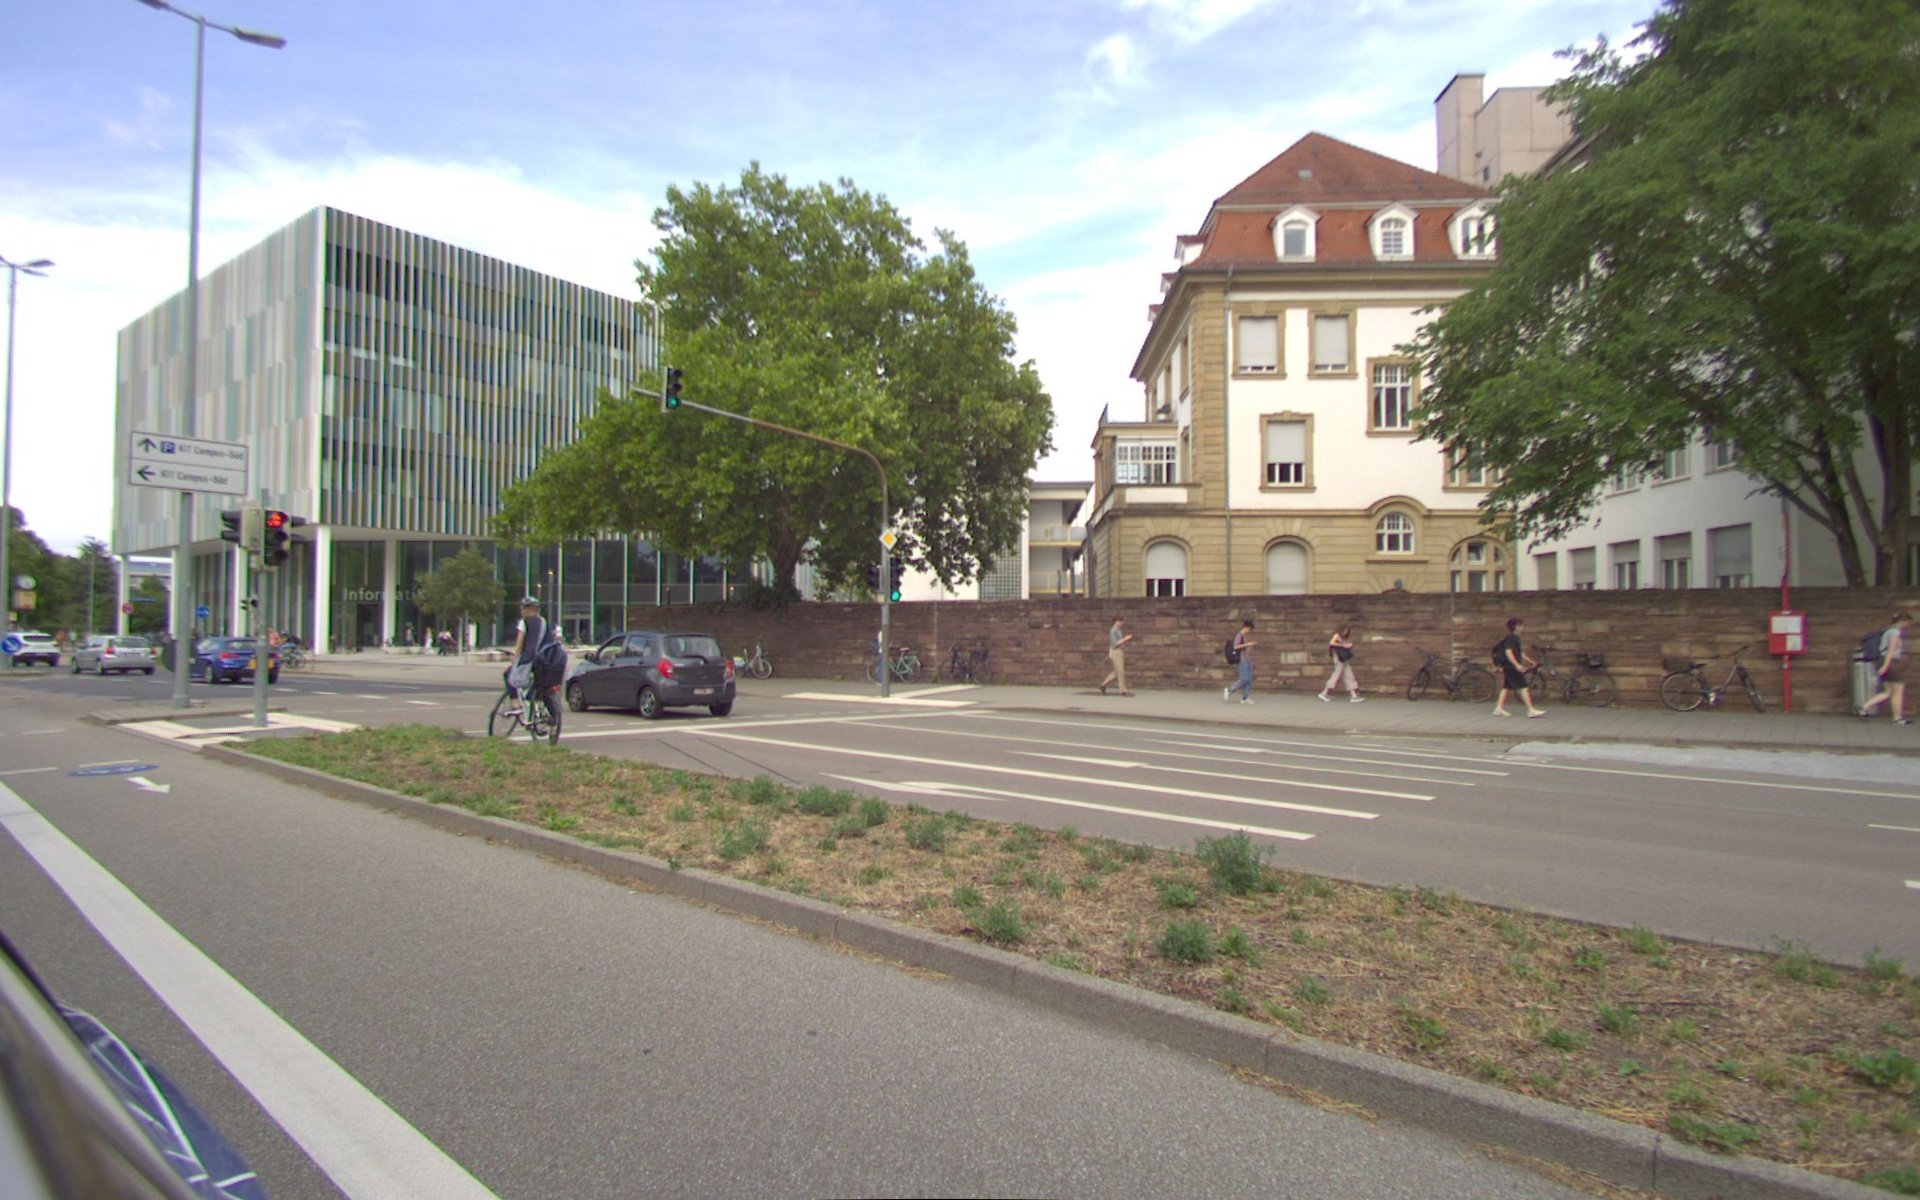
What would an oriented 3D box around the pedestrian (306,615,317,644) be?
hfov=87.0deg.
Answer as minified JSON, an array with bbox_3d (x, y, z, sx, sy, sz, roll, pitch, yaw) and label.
[{"bbox_3d":[-46.722,2.134,72.908,0.623,2.059,0.506,-3,-3,36],"label":"pedestrian"}]

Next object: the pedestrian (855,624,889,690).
[{"bbox_3d":[-2.426,1.558,27.949,0.774,1.796,0.745,1,-1,6],"label":"pedestrian"}]

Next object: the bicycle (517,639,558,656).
[{"bbox_3d":[-26.425,2.961,63.303,0.669,1.007,2.662,-1,-2,22],"label":"bicycle"}]

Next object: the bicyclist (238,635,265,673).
[{"bbox_3d":[-31.707,2.404,45.298,0.719,1.685,0.723,-1,-1,24],"label":"bicyclist"}]

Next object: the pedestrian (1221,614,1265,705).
[{"bbox_3d":[5.752,1.198,20.612,0.775,1.796,0.758,1,-1,11],"label":"pedestrian"}]

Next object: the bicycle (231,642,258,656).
[{"bbox_3d":[-49.868,3.421,70.549,0.393,0.944,1.529,-2,0,32],"label":"bicycle"}]

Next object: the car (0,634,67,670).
[{"bbox_3d":[-44.683,2.443,48.113,4.400,1.665,1.853,-1,-2,27],"label":"car"}]

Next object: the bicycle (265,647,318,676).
[{"bbox_3d":[-28.792,2.638,43.611,0.603,1.179,1.881,-1,-2,22],"label":"bicycle"}]

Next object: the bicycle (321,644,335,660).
[{"bbox_3d":[-39.702,3.273,63.617,0.387,0.944,1.603,-1,0,-19],"label":"bicycle"}]

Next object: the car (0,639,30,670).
[{"bbox_3d":[-52.522,2.952,55.318,4.741,1.628,1.877,-2,-3,41],"label":"car"}]

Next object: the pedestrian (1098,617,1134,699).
[{"bbox_3d":[3.498,1.282,22.749,0.775,1.796,0.745,1,-1,8],"label":"pedestrian"}]

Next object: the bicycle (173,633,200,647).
[{"bbox_3d":[-60.355,3.122,78.994,0.388,1.031,1.564,-1,-4,32],"label":"bicycle"}]

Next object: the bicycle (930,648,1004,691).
[{"bbox_3d":[0.175,1.840,26.927,1.976,1.066,0.544,-2,0,35],"label":"bicycle"}]

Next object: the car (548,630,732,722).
[{"bbox_3d":[-5.842,1.316,18.290,3.636,1.500,1.555,-2,-4,42],"label":"car"}]

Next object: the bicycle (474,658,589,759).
[{"bbox_3d":[-5.113,1.243,12.005,1.927,1.063,0.566,-2,-3,45],"label":"bicycle"}]

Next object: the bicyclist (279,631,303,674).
[{"bbox_3d":[-28.798,2.268,43.568,0.558,1.820,0.597,-1,-3,23],"label":"bicyclist"}]

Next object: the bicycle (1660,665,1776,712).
[{"bbox_3d":[13.782,1.602,18.444,1.615,0.803,0.437,-3,-1,32],"label":"bicycle"}]

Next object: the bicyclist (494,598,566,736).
[{"bbox_3d":[-5.137,0.787,12.086,0.699,1.586,0.565,-2,-3,45],"label":"bicyclist"}]

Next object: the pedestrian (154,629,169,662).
[{"bbox_3d":[-45.939,2.608,58.240,0.623,1.851,0.506,-3,-3,37],"label":"pedestrian"}]

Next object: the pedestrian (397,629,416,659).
[{"bbox_3d":[-32.422,2.553,59.307,0.670,1.753,0.729,0,-2,4],"label":"pedestrian"}]

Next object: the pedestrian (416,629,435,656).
[{"bbox_3d":[-31.469,2.491,59.564,0.670,1.612,0.729,0,-2,7],"label":"pedestrian"}]

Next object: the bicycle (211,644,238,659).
[{"bbox_3d":[-53.916,3.799,74.216,0.388,1.031,1.565,-2,0,32],"label":"bicycle"}]

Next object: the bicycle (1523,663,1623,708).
[{"bbox_3d":[11.871,1.652,19.646,1.615,0.803,0.437,-3,-1,32],"label":"bicycle"}]

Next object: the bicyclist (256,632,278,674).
[{"bbox_3d":[-30.231,2.311,44.151,0.558,1.820,0.597,-1,-1,24],"label":"bicyclist"}]

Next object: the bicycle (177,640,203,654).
[{"bbox_3d":[-59.815,3.638,78.576,0.388,1.031,1.565,-2,0,32],"label":"bicycle"}]

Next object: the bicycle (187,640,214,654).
[{"bbox_3d":[-57.761,3.557,76.990,0.388,1.031,1.565,-2,0,32],"label":"bicycle"}]

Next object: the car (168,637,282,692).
[{"bbox_3d":[-22.787,1.951,31.333,4.098,1.523,1.784,0,-2,38],"label":"car"}]

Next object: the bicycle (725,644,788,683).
[{"bbox_3d":[-6.299,1.935,31.203,2.161,1.134,0.572,-2,0,37],"label":"bicycle"}]

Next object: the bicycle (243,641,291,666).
[{"bbox_3d":[-30.236,2.335,44.161,0.568,0.996,1.679,-1,-1,24],"label":"bicycle"}]

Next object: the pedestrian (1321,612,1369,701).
[{"bbox_3d":[7.979,1.160,21.009,0.775,1.796,0.759,1,-1,9],"label":"pedestrian"}]

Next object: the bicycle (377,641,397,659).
[{"bbox_3d":[-36.049,3.160,63.665,0.388,1.037,1.546,-1,0,0],"label":"bicycle"}]

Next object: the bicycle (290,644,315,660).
[{"bbox_3d":[-41.694,3.287,64.193,0.389,0.944,1.609,-1,0,4],"label":"bicycle"}]

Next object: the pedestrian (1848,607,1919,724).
[{"bbox_3d":[14.807,1.021,15.980,0.905,1.796,0.758,1,-1,12],"label":"pedestrian"}]

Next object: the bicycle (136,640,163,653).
[{"bbox_3d":[-68.003,3.884,84.944,0.433,1.031,1.685,-2,0,32],"label":"bicycle"}]

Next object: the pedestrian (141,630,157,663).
[{"bbox_3d":[-46.268,2.641,57.720,0.771,1.851,0.506,-3,-3,37],"label":"pedestrian"}]

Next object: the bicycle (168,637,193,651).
[{"bbox_3d":[-61.388,3.443,79.716,0.388,1.031,1.565,-2,0,32],"label":"bicycle"}]

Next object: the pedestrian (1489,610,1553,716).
[{"bbox_3d":[9.808,1.089,17.726,0.776,1.796,0.758,1,-1,12],"label":"pedestrian"}]

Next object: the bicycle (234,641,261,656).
[{"bbox_3d":[-50.193,3.428,71.293,0.388,0.944,1.529,-2,0,32],"label":"bicycle"}]

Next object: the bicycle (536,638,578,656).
[{"bbox_3d":[-24.964,2.897,62.694,0.792,1.098,2.662,-1,-2,22],"label":"bicycle"}]

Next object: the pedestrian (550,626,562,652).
[{"bbox_3d":[-27.671,2.661,69.303,0.626,1.792,0.597,0,-2,-7],"label":"pedestrian"}]

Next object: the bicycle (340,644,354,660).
[{"bbox_3d":[-38.624,3.275,63.784,0.387,0.944,1.603,-1,0,-19],"label":"bicycle"}]

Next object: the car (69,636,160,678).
[{"bbox_3d":[-31.997,2.123,38.263,4.283,1.500,1.784,-2,-3,38],"label":"car"}]
